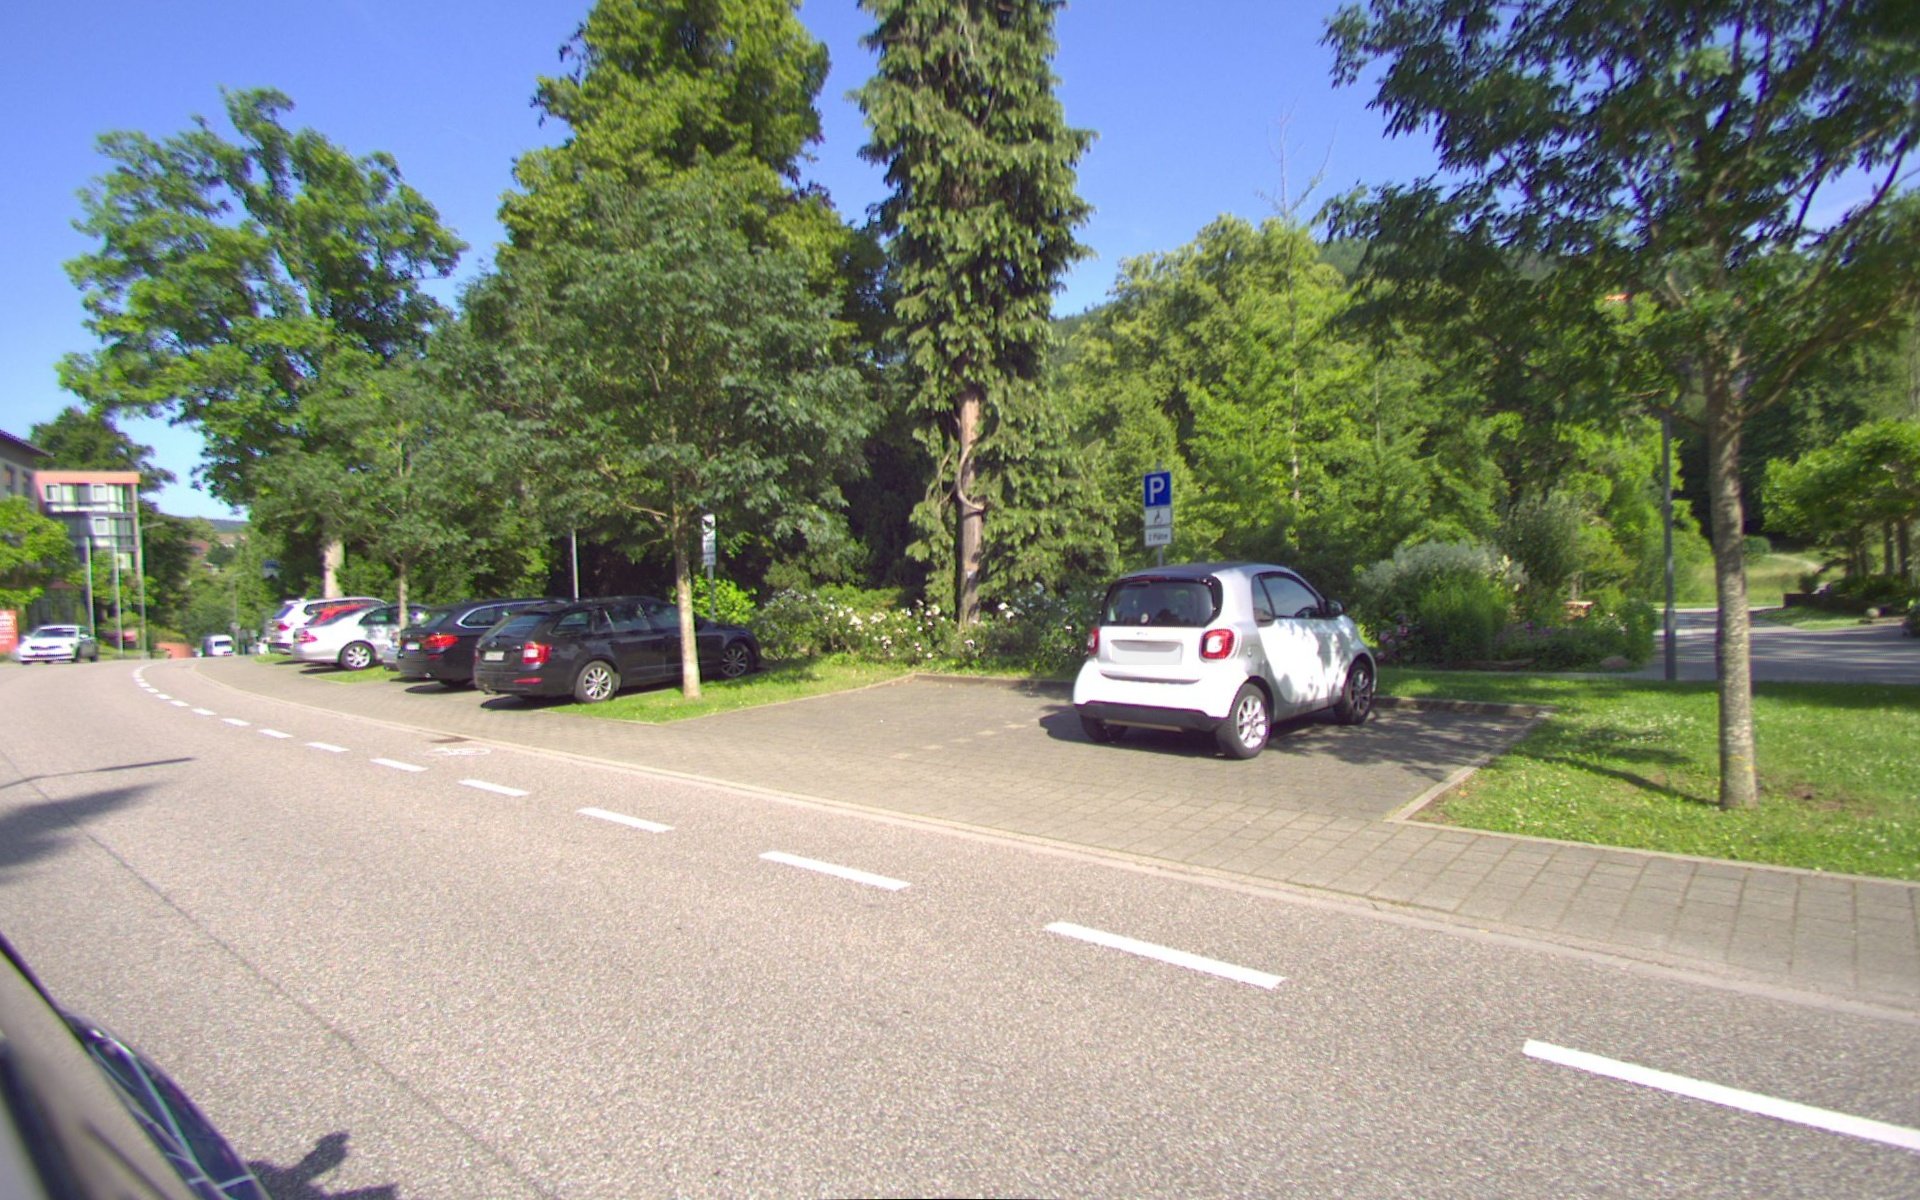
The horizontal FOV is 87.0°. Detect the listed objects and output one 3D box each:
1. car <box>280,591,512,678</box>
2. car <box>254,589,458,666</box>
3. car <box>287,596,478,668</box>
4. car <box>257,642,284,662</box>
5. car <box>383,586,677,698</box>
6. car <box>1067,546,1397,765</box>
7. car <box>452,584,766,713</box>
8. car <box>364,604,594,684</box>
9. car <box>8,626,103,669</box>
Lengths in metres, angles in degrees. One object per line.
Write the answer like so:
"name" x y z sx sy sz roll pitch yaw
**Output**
"car" -13.148 0.724 23.747 4.427 1.427 1.813 -7 5 -38
"car" -16.571 0.685 27.929 1.810 1.675 4.434 -1 4 44
"car" -14.879 0.767 26.186 3.940 1.443 1.722 -5 3 -42
"car" -55.147 4.161 80.969 1.712 1.408 4.011 -2 0 -34
"car" -7.478 0.641 17.977 1.712 1.521 4.448 -2 2 41
"car" 2.495 0.380 9.104 2.620 1.558 1.684 -5 3 -42
"car" -5.109 0.615 15.304 1.709 1.442 4.240 -2 3 35
"car" -9.569 0.814 20.330 1.762 1.252 3.755 -1 2 41
"car" -34.430 1.792 38.623 1.711 1.508 3.941 -1 -2 -27
